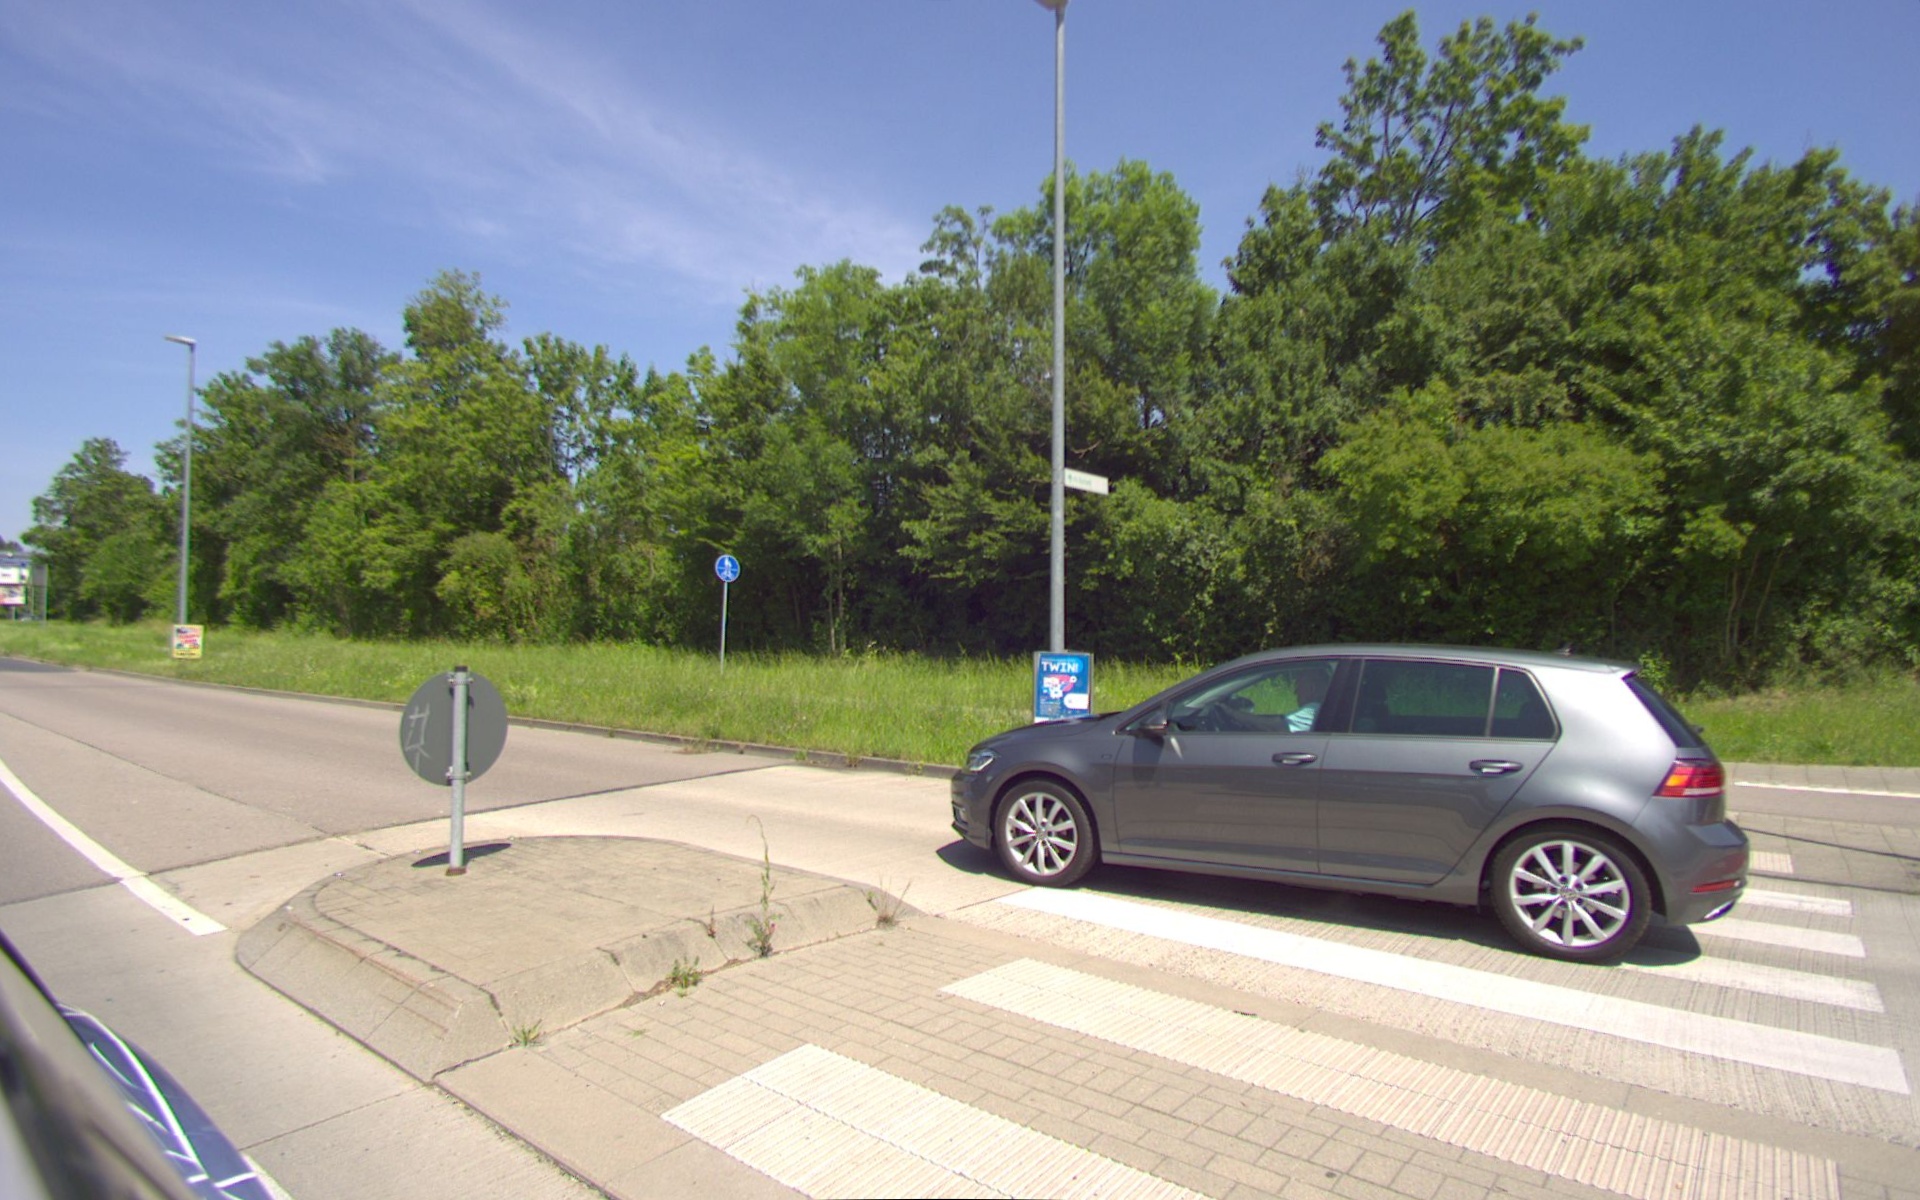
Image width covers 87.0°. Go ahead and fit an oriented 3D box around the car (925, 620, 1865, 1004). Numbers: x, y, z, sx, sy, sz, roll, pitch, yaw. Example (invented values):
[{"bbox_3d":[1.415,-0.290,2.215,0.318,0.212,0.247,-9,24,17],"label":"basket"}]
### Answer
[{"bbox_3d":[2.128,0.908,5.885,4.270,1.490,1.980,-1,-4,29],"label":"car"}]
